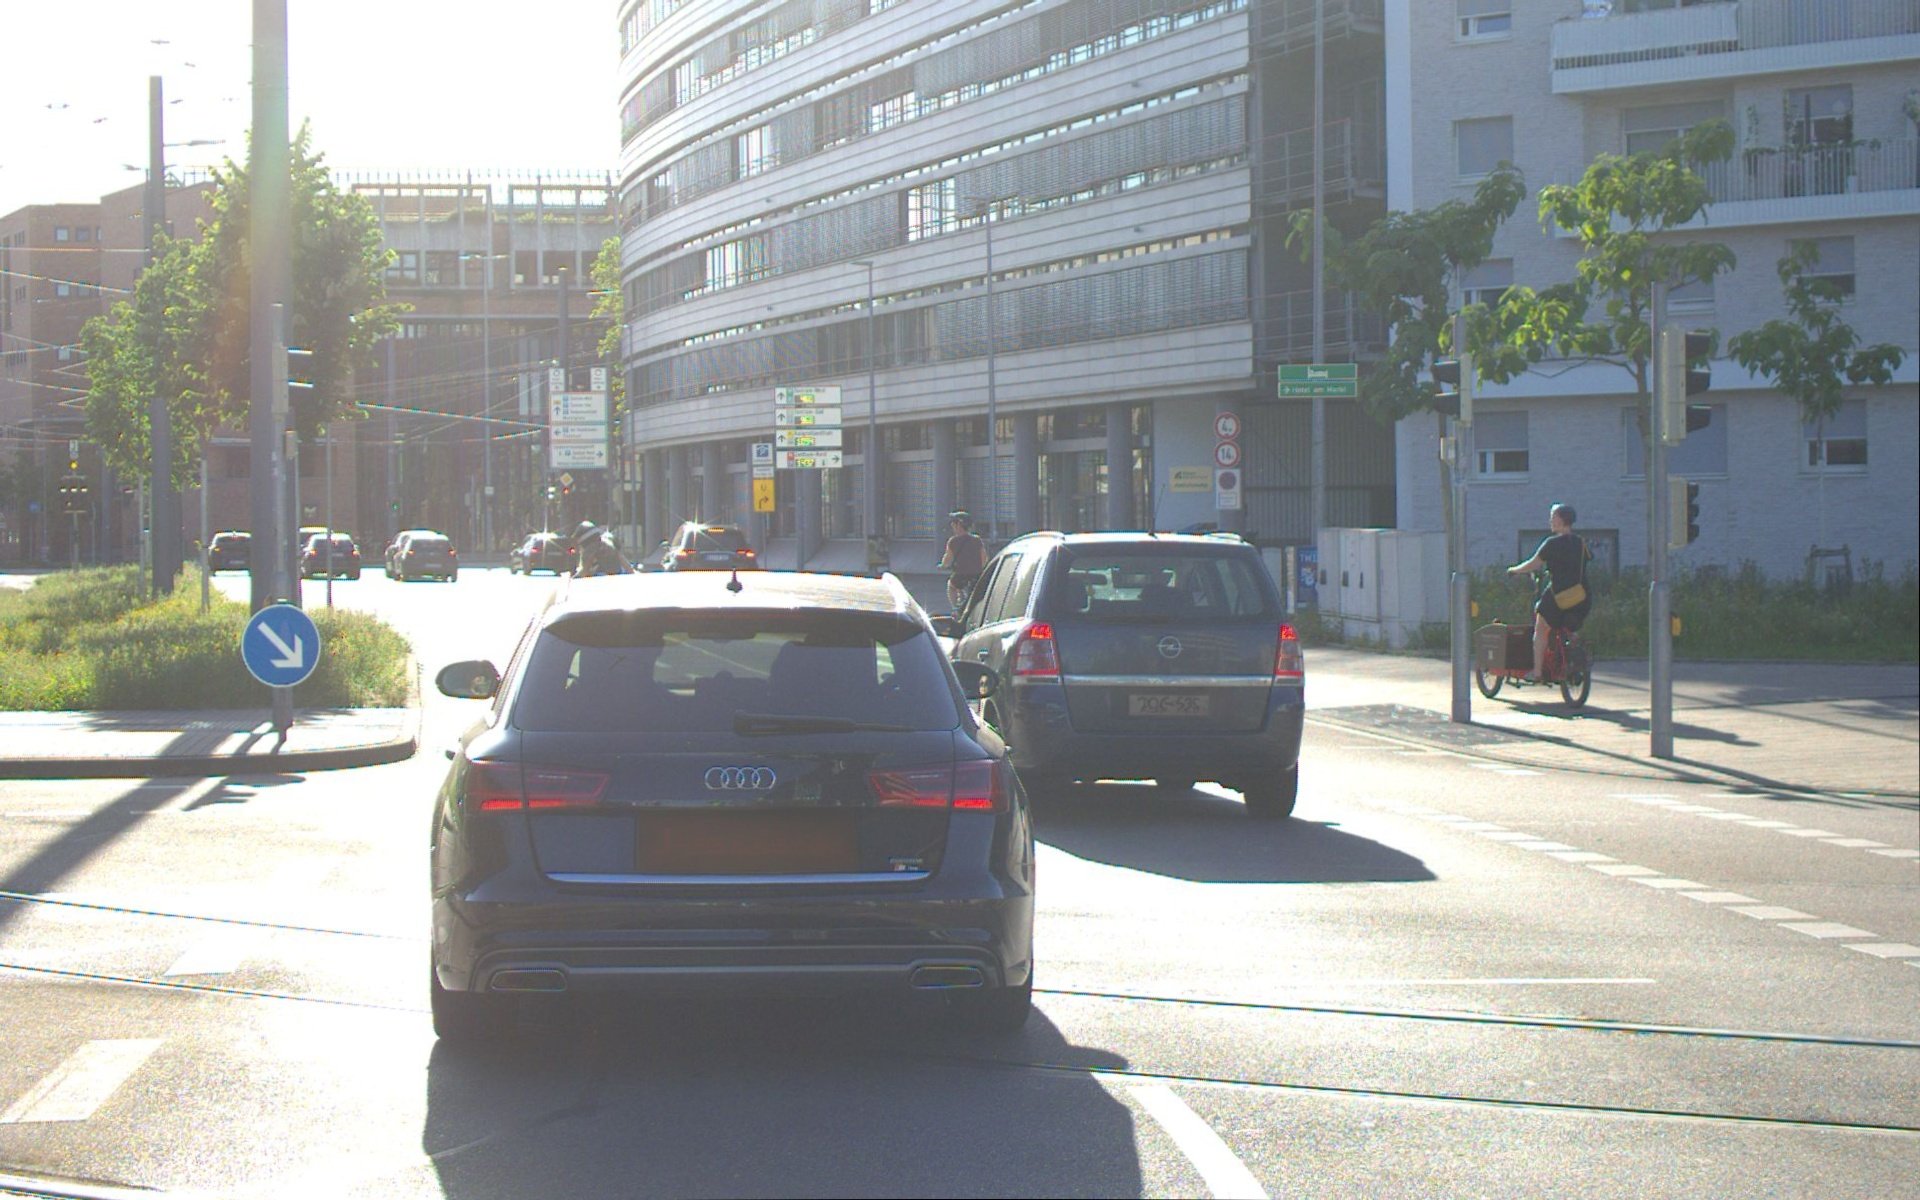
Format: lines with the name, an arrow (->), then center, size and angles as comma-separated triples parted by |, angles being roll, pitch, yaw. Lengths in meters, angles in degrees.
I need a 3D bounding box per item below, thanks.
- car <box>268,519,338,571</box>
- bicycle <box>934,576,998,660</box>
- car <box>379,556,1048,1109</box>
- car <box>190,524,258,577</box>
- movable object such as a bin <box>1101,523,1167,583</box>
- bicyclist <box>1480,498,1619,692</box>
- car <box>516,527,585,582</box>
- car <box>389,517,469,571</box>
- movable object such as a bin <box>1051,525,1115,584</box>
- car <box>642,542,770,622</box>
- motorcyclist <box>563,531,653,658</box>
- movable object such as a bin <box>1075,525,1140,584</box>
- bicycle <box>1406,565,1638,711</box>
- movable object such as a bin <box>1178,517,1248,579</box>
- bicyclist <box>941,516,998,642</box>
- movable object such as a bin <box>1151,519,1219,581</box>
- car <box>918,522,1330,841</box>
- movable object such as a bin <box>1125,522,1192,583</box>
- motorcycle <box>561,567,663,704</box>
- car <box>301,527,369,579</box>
car -> -22.376, -1.858, 116.954 | 1.993, 1.700, 4.001 | -1, 0, -15
bicycle -> 0.090, 0.231, 45.325 | 0.654, 1.039, 1.929 | 0, 2, 6
car -> -0.654, 0.623, 11.592 | 1.842, 1.449, 4.000 | 1, 2, 1
car -> -24.938, -1.663, 116.439 | 1.993, 1.700, 4.001 | -1, 0, -15
movable object such as a bin -> 3.934, -1.063, 77.857 | 1.059, 1.327, 1.125 | -1, 0, -25
bicyclist -> 5.262, -0.052, 30.692 | 0.766, 1.700, 0.930 | -1, 1, -38
car -> -14.399, -1.589, 120.751 | 1.993, 1.831, 4.001 | -1, 0, -13
car -> -16.781, -1.752, 108.485 | 1.993, 1.590, 4.001 | -1, 0, -16
movable object such as a bin -> 2.859, -1.058, 80.062 | 1.059, 1.327, 1.125 | -1, 0, -25
car -> -5.921, -0.437, 79.700 | 2.002, 1.709, 4.374 | 1, 2, -17
motorcyclist -> -3.708, -0.065, 36.209 | 0.862, 1.322, 0.681 | -1, 1, -12
movable object such as a bin -> 3.387, -1.036, 78.958 | 1.059, 1.327, 1.125 | -1, 0, -25
bicycle -> 5.042, 0.317, 30.969 | 0.766, 1.258, 2.081 | -1, 1, -38
movable object such as a bin -> 5.482, -1.125, 74.557 | 1.059, 1.327, 1.125 | -1, 0, -25
bicyclist -> 0.125, -0.279, 45.310 | 0.654, 1.637, 0.972 | 0, 2, 6
movable object such as a bin -> 4.953, -1.088, 75.663 | 1.059, 1.327, 1.125 | -1, 0, -25
car -> 0.869, 0.401, 20.755 | 1.745, 1.690, 4.262 | 2, 1, -7
movable object such as a bin -> 4.430, -1.062, 76.791 | 1.059, 1.327, 1.125 | -1, 0, -25
motorcycle -> -3.684, 0.351, 36.238 | 0.862, 1.388, 1.894 | -1, 1, -12
car -> -20.194, -1.509, 110.998 | 1.993, 1.590, 4.001 | -1, 0, -13
